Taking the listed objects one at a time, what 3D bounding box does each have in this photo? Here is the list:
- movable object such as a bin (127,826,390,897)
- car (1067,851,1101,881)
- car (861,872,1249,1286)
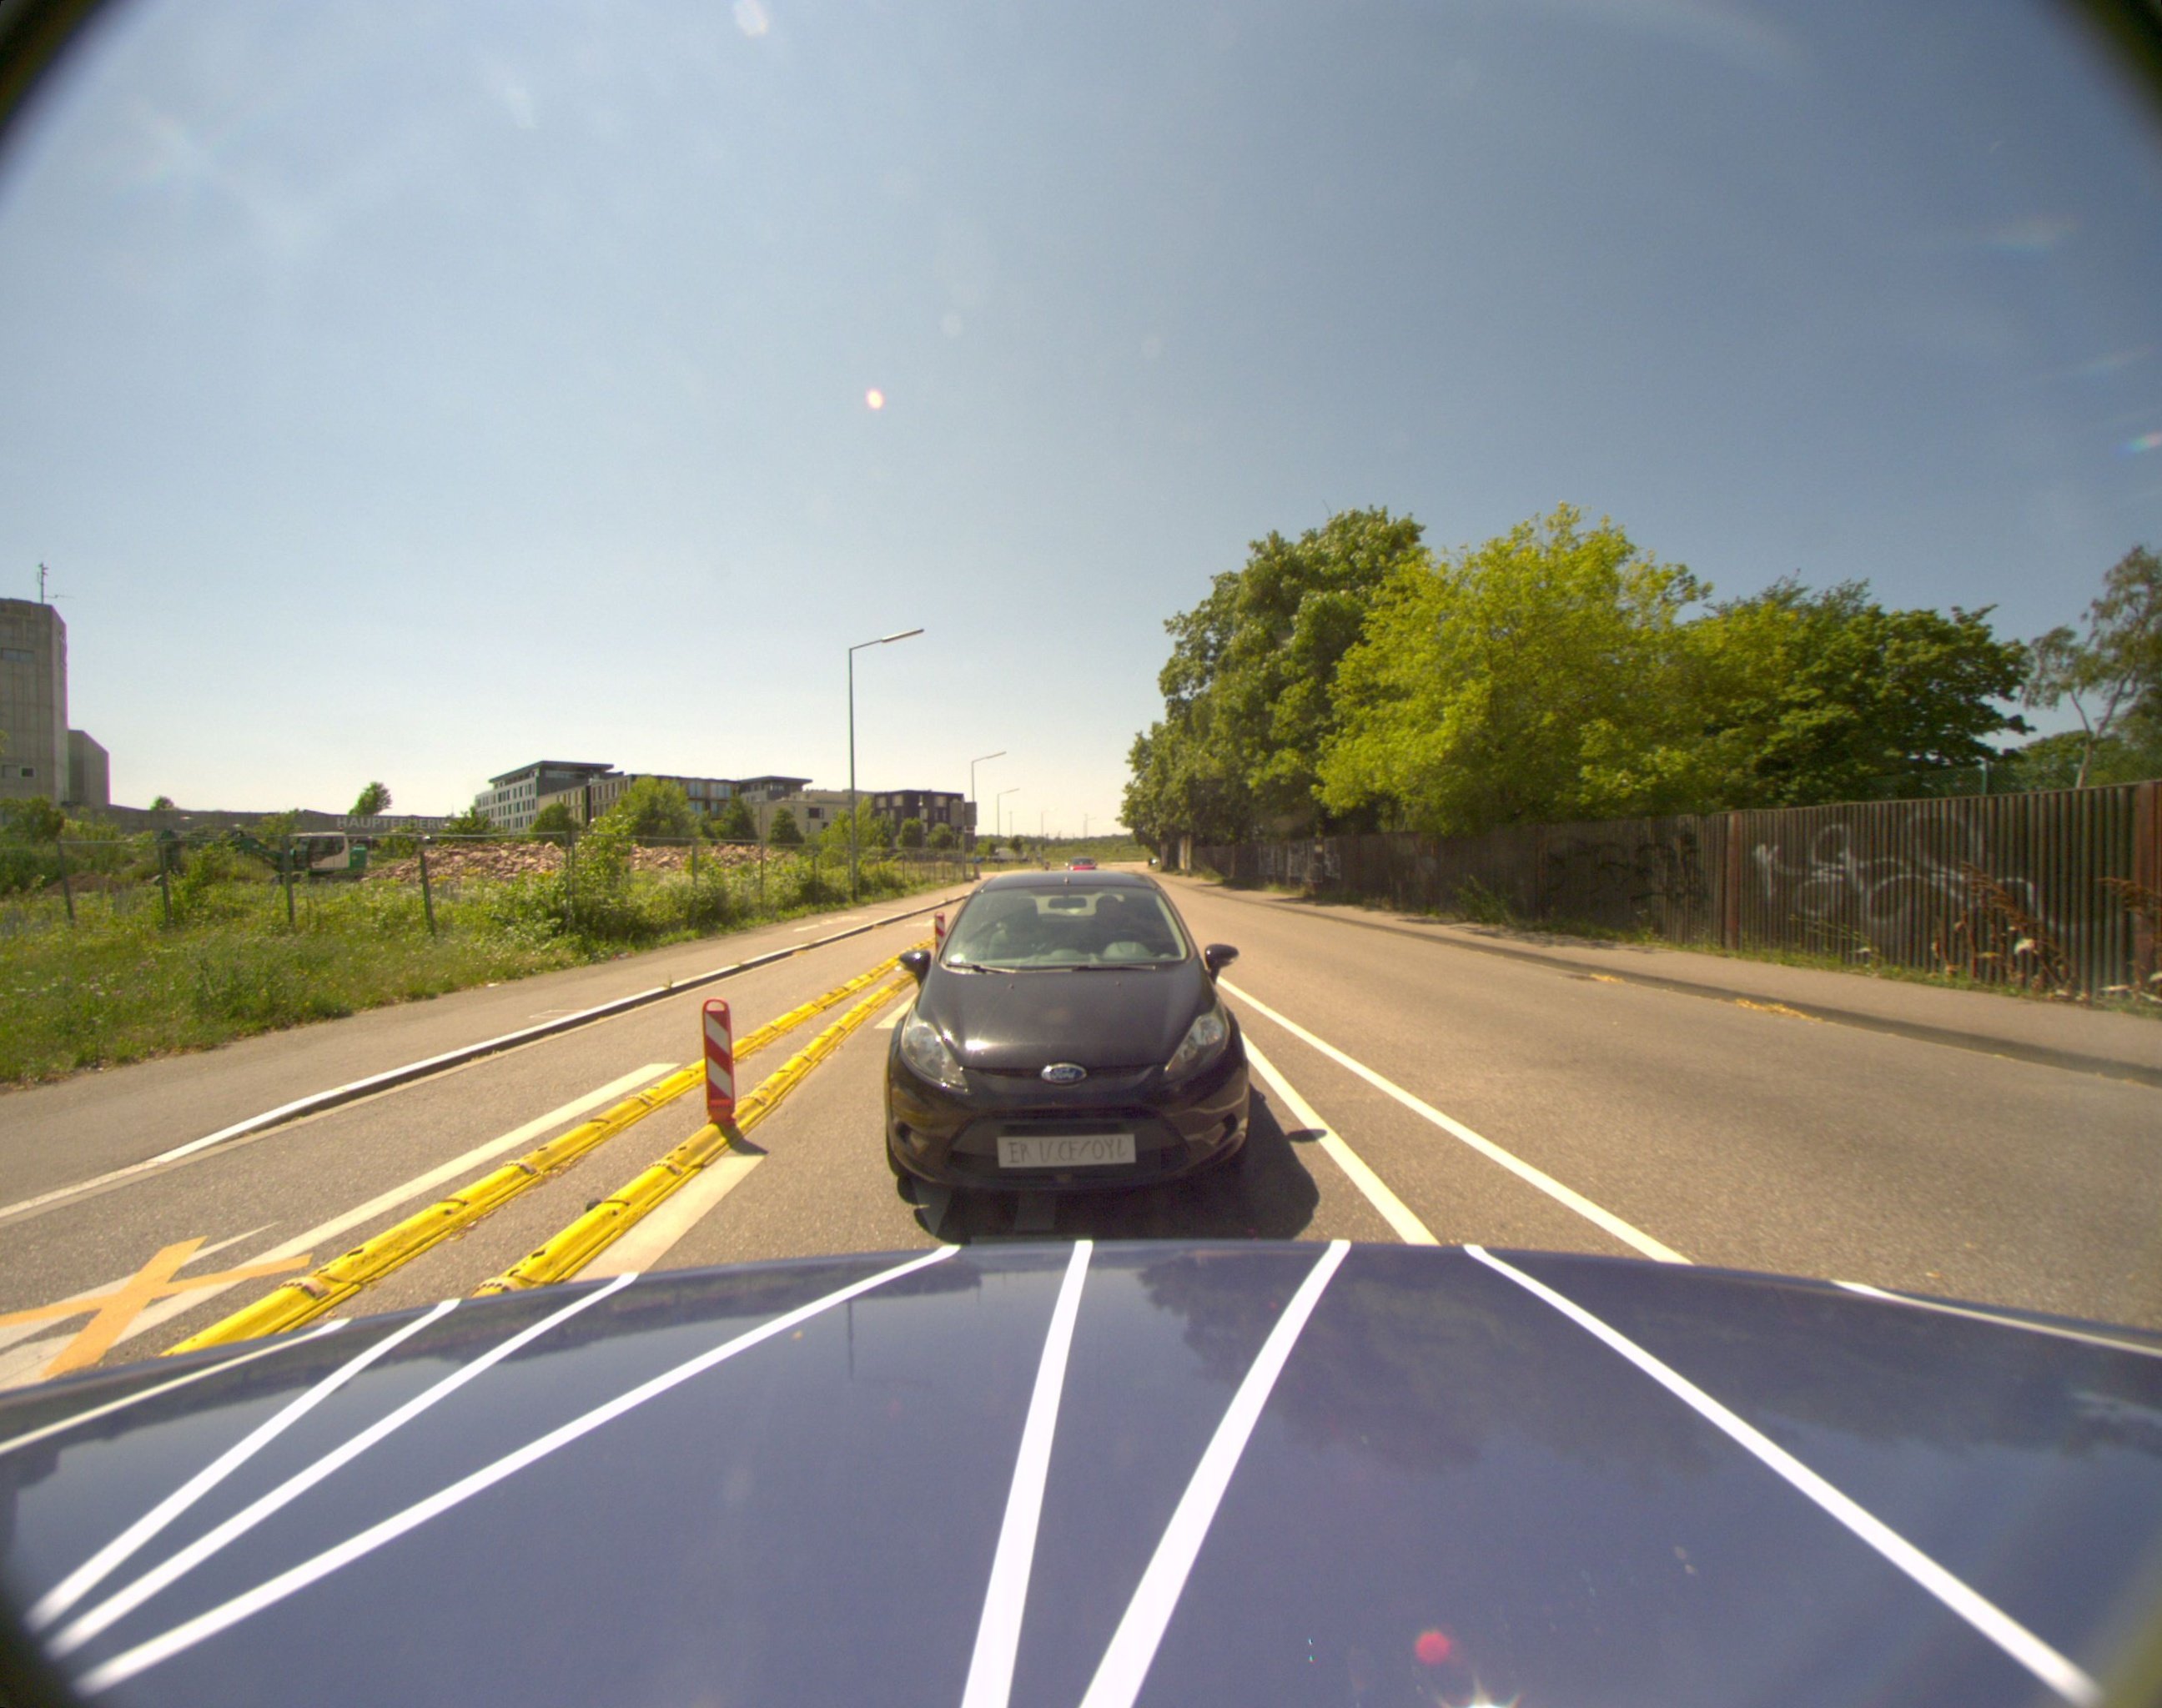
[{"bbox_3d":[-38.350,0.251,35.956,3.231,2.899,7.702,-2,1,15],"label":"movable object such as a bin"},{"bbox_3d":[0.201,0.711,46.764,1.924,1.643,4.668,-2,1,1],"label":"car"},{"bbox_3d":[-0.076,0.972,5.102,1.528,1.510,3.999,-2,1,1],"label":"car"}]
